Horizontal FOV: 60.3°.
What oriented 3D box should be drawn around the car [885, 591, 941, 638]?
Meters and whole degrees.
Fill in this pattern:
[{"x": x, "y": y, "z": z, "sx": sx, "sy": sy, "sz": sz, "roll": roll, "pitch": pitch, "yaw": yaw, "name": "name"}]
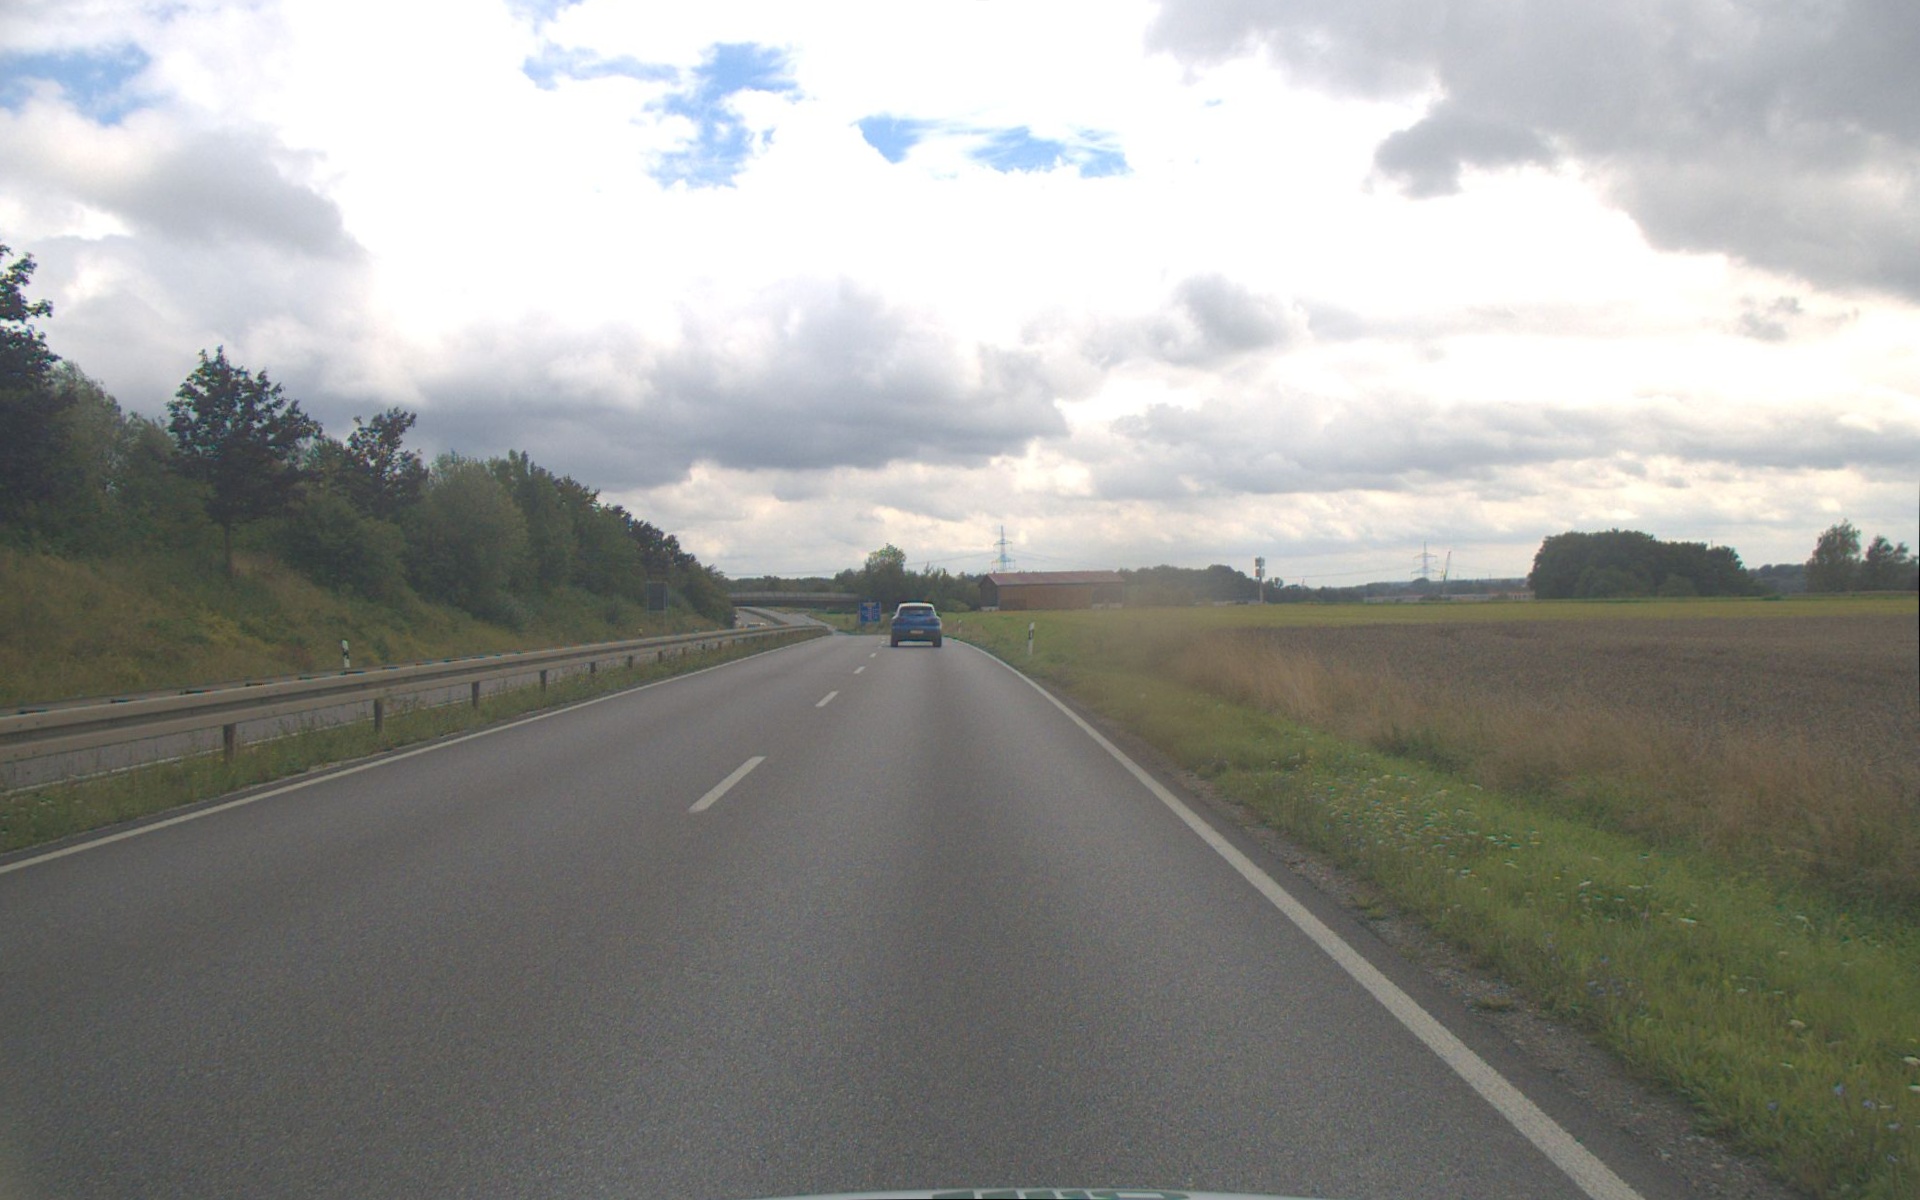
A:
[{"x": -1.740, "y": 0.523, "z": 62.789, "sx": 1.991, "sy": 1.689, "sz": 4.543, "roll": 0, "pitch": 0, "yaw": 0, "name": "car"}]
